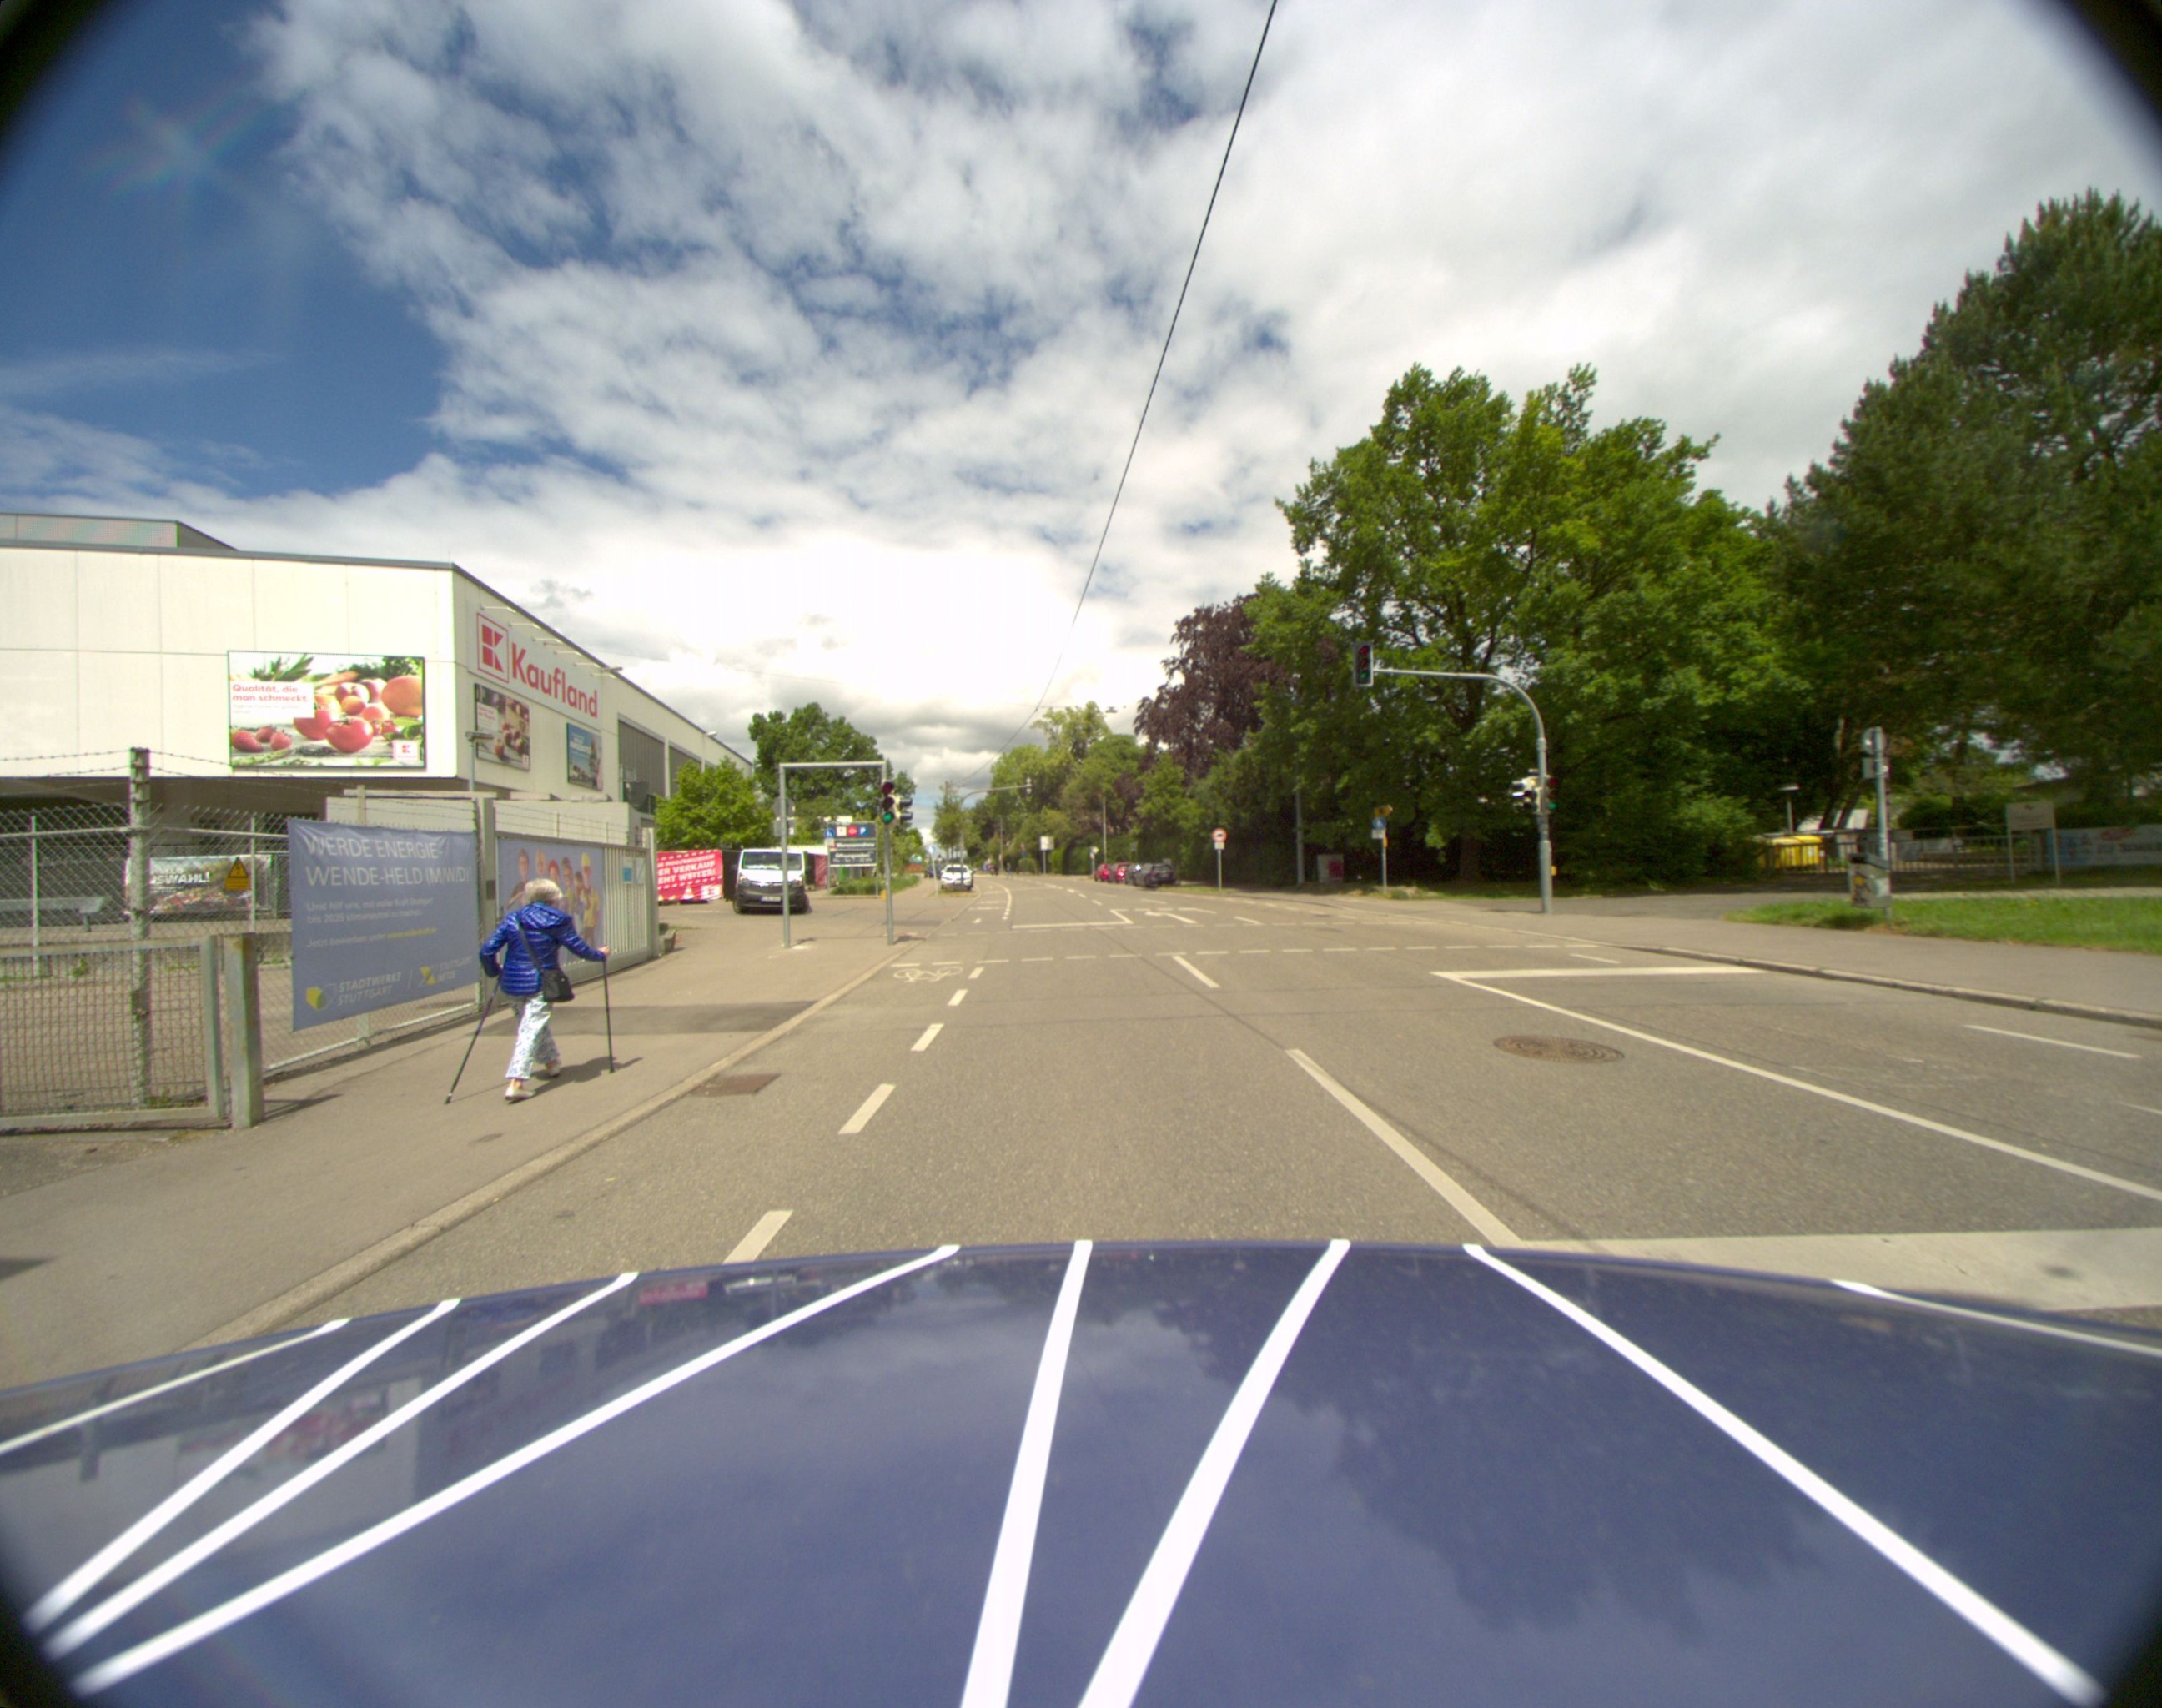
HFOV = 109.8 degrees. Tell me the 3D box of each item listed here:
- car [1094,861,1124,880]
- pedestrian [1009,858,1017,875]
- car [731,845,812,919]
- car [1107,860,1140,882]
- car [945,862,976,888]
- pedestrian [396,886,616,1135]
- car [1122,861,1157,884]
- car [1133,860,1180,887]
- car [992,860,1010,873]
[{"bbox_3d":[2.192,1.255,60.301,1.531,1.358,3.371,-3,1,-12],"label":"car"},{"bbox_3d":[-6.732,1.251,74.967,0.554,1.663,0.587,-3,0,-28],"label":"pedestrian"},{"bbox_3d":[-9.512,0.773,23.704,2.002,2.011,5.343,-1,0,-19],"label":"car"},{"bbox_3d":[3.065,1.230,55.174,1.524,1.469,3.321,-3,0,-12],"label":"car"},{"bbox_3d":[-7.500,1.280,47.322,1.796,1.522,3.918,1,0,-8],"label":"car"},{"bbox_3d":[-4.037,1.036,5.435,0.826,1.563,0.987,0,0,-4],"label":"pedestrian"},{"bbox_3d":[3.866,1.202,50.795,1.560,1.404,3.191,-3,1,-9],"label":"car"},{"bbox_3d":[4.502,1.152,45.991,1.688,1.407,4.398,-3,1,-9],"label":"car"},{"bbox_3d":[-10.615,1.621,100.209,1.852,1.546,3.945,-3,0,-13],"label":"car"}]
